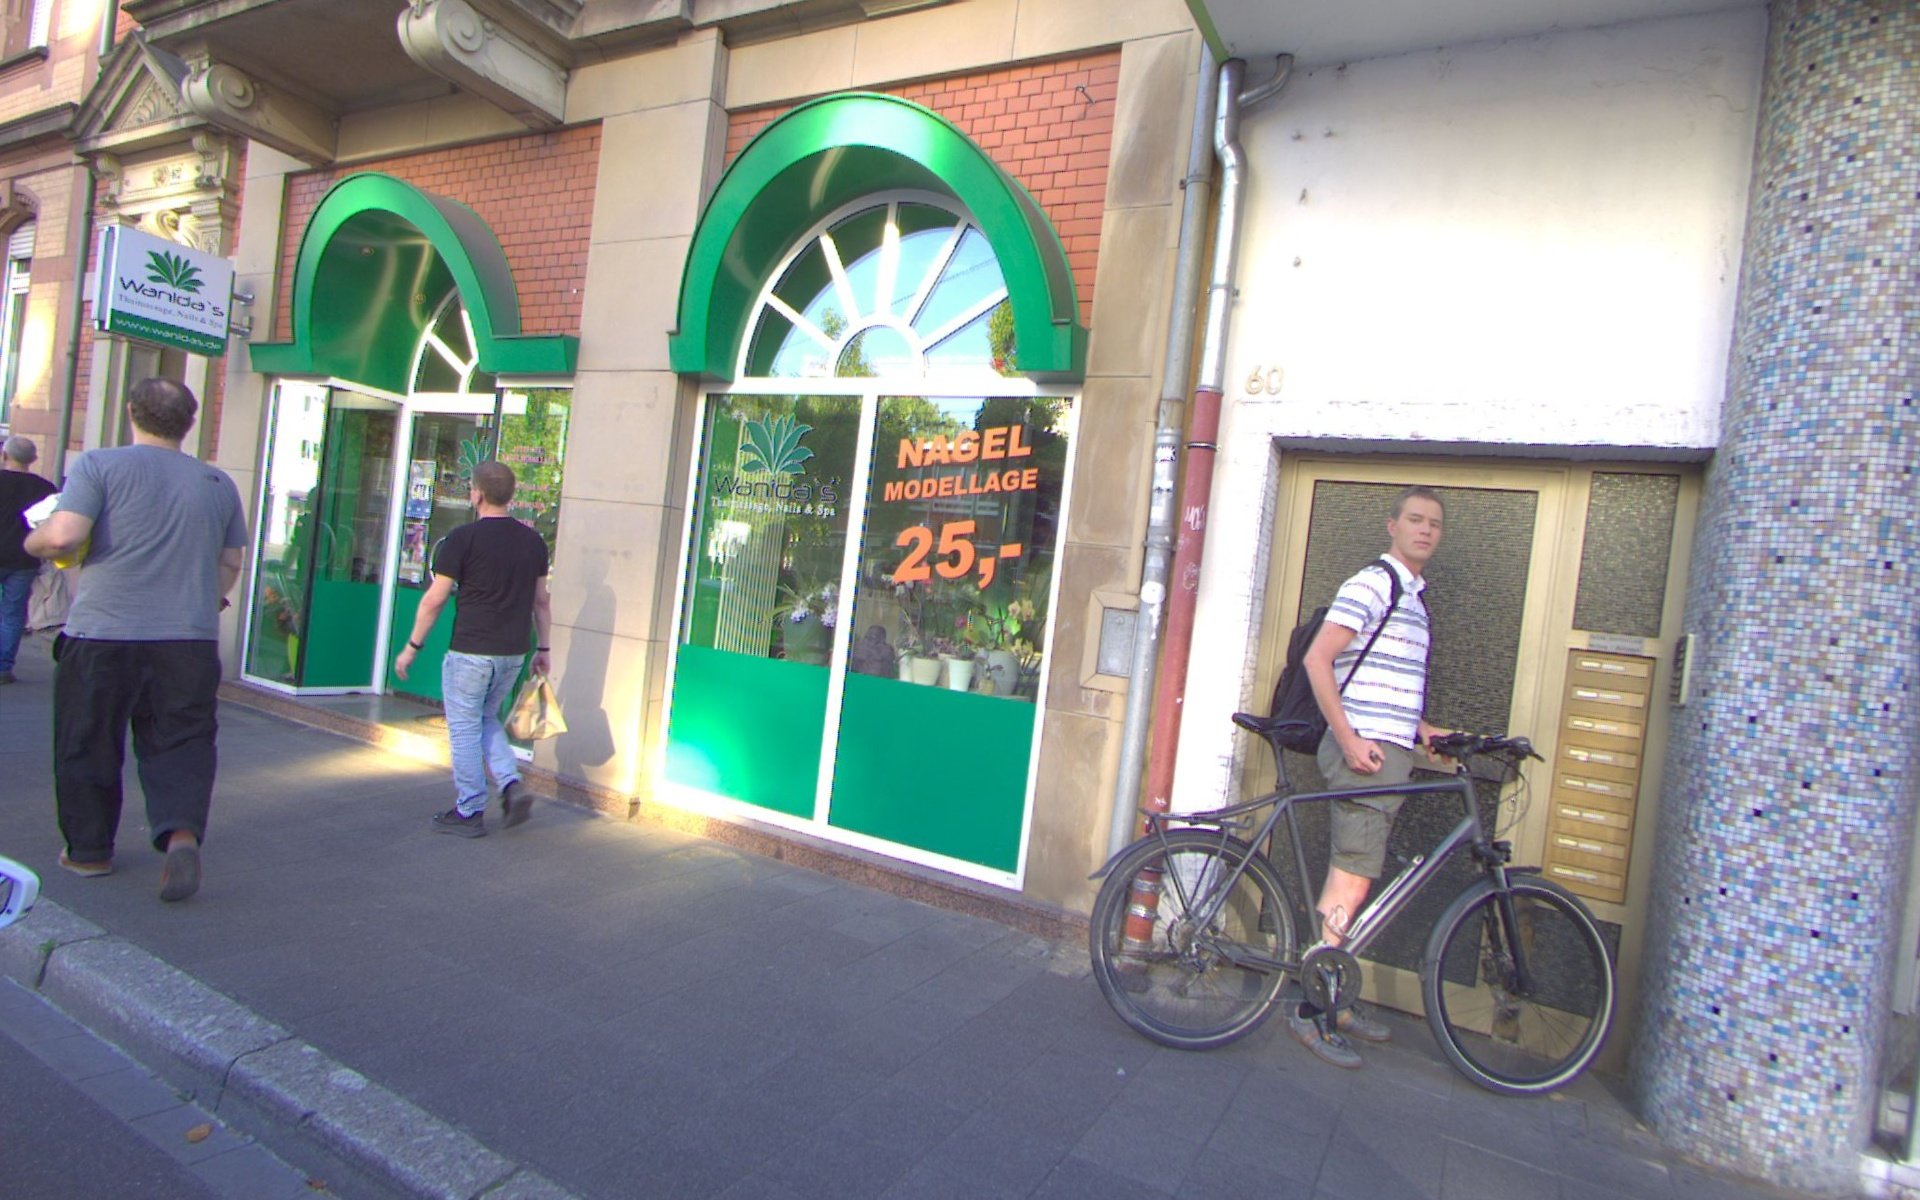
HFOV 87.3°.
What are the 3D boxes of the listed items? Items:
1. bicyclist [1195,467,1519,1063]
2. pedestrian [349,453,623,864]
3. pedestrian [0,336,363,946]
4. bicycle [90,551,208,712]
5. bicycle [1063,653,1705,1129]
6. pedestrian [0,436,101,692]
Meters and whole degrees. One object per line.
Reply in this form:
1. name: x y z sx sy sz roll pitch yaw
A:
1. bicyclist: 1.386 0.554 3.646 0.730 1.905 0.600 7 1 3
2. pedestrian: -2.257 0.247 4.827 0.741 1.745 0.776 7 2 29
3. pedestrian: -2.889 0.118 3.687 0.741 1.919 0.822 7 2 29
4. bicycle: -5.847 0.204 7.236 1.222 1.009 0.344 7 2 38
5. bicycle: 1.385 0.947 3.572 1.859 1.269 0.668 7 1 3
6. pedestrian: -6.793 -0.268 7.128 0.741 1.745 0.776 7 2 29
